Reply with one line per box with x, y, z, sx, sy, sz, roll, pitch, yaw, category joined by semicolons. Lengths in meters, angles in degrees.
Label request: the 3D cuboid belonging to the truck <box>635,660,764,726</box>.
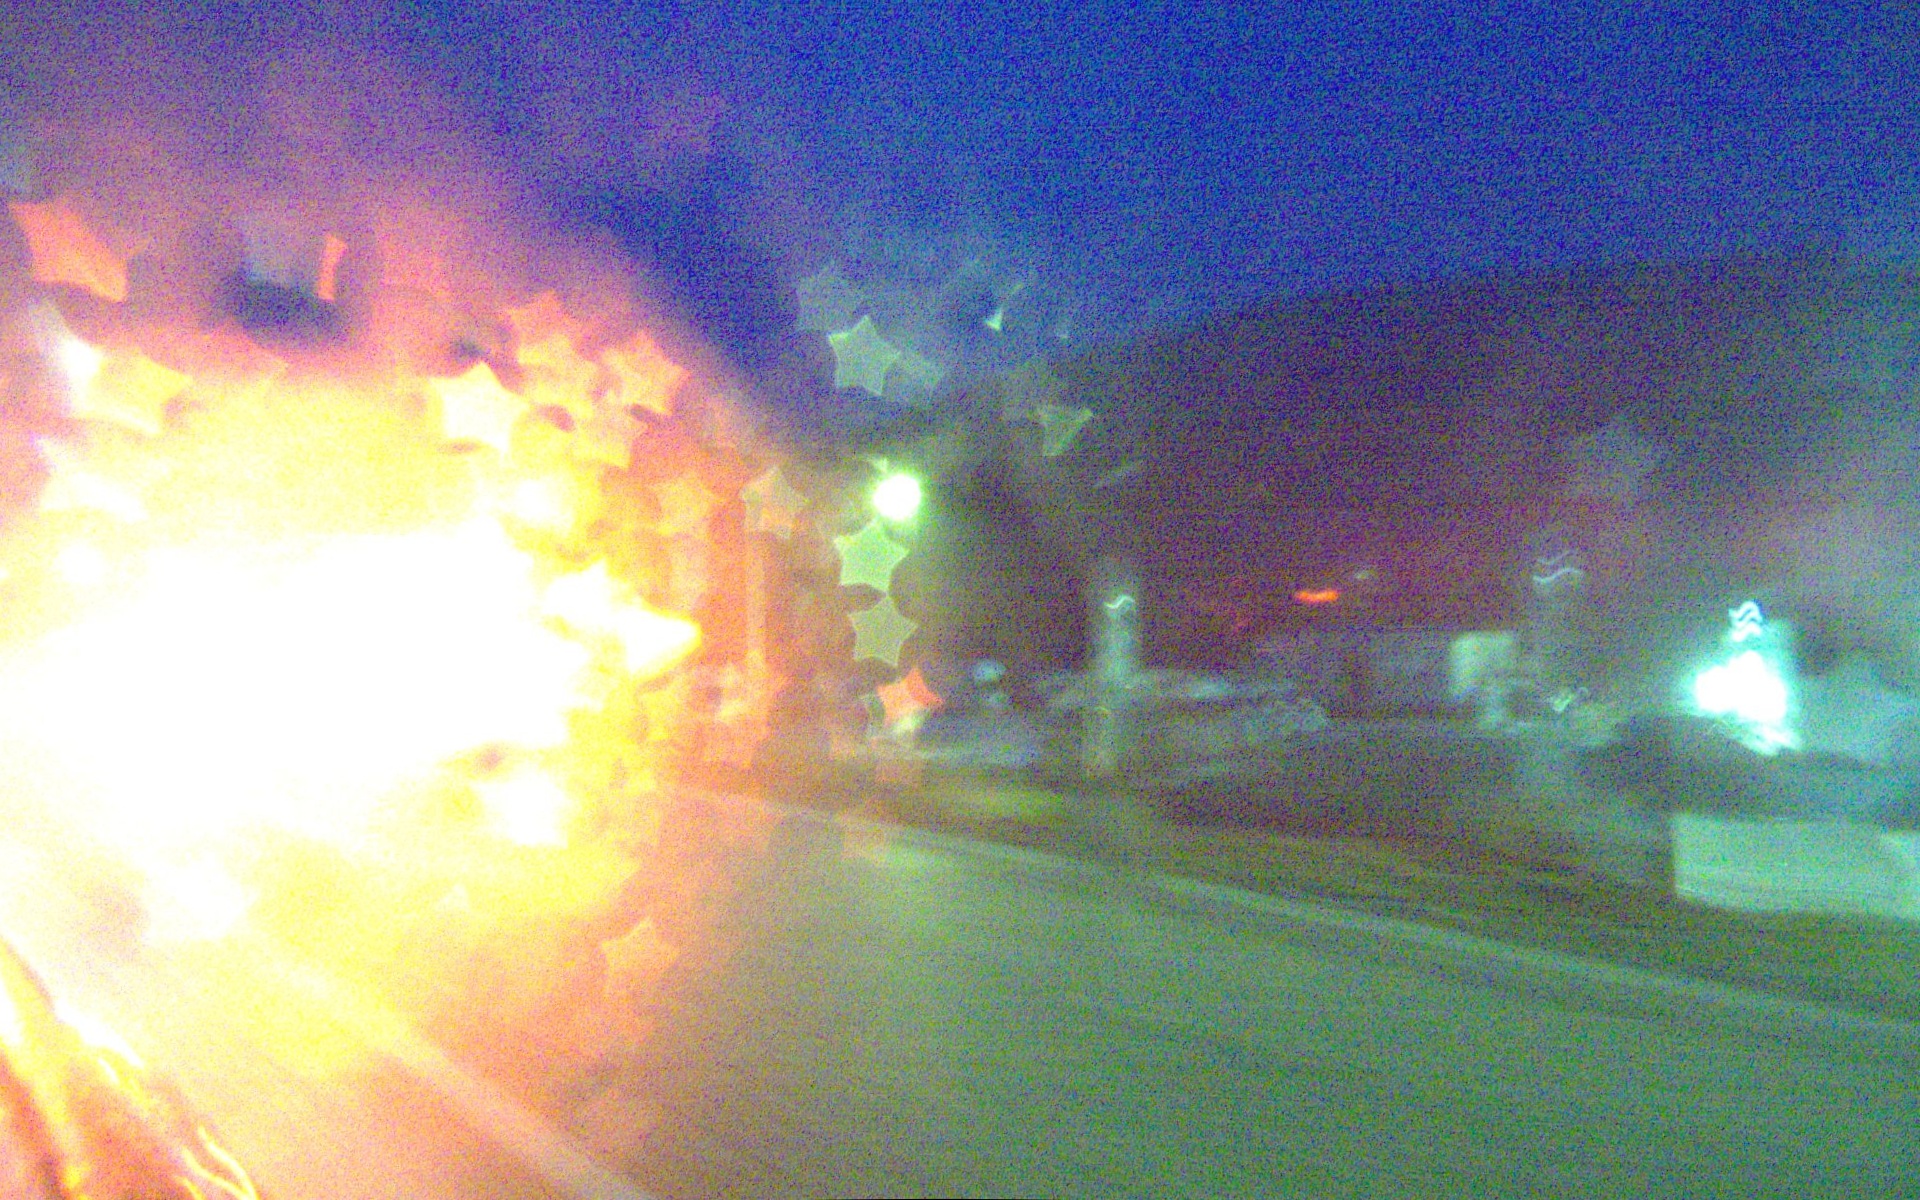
-11.932;4.179;46.014;6.870;2.538;2.144;0;-6;43;truck

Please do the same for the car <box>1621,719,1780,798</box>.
22.453;4.778;30.870;3.710;1.921;1.704;-1;-1;32;car

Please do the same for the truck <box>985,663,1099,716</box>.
5.008;5.519;62.639;6.859;2.825;2.148;0;-5;37;truck

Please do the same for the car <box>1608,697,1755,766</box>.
25.106;4.536;35.401;3.984;2.029;1.721;-1;-1;30;car

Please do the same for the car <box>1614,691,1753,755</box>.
26.765;4.504;37.599;3.984;2.029;1.721;-1;-1;30;car

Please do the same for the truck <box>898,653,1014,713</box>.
-0.284;4.807;59.027;6.685;3.068;2.148;0;-5;37;truck

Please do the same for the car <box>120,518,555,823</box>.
-5.729;0.489;9.008;4.877;2.018;1.872;-1;0;41;car

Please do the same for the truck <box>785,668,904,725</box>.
-6.139;5.011;53.062;6.870;2.538;2.144;0;-6;43;truck

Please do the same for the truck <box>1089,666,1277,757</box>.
9.054;4.486;41.453;7.033;3.121;2.414;1;-5;34;truck

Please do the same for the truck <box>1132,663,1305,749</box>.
11.546;4.690;45.425;7.033;3.285;2.414;1;-5;34;truck

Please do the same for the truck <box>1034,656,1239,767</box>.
6.498;4.046;37.793;7.036;3.506;2.445;1;-5;35;truck

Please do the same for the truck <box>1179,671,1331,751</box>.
14.159;5.261;48.731;6.550;3.285;2.414;1;-5;34;truck

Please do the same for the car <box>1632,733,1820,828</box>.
19.817;4.638;26.396;3.710;1.921;1.704;-1;-1;32;car

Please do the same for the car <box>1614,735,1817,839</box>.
17.917;4.393;24.228;3.710;1.921;1.704;-1;-1;32;car

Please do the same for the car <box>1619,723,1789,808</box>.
21.011;4.635;28.793;3.710;1.921;1.704;-1;-1;32;car

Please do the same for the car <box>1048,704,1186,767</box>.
5.339;4.593;34.604;4.274;1.727;1.707;1;-5;34;car
